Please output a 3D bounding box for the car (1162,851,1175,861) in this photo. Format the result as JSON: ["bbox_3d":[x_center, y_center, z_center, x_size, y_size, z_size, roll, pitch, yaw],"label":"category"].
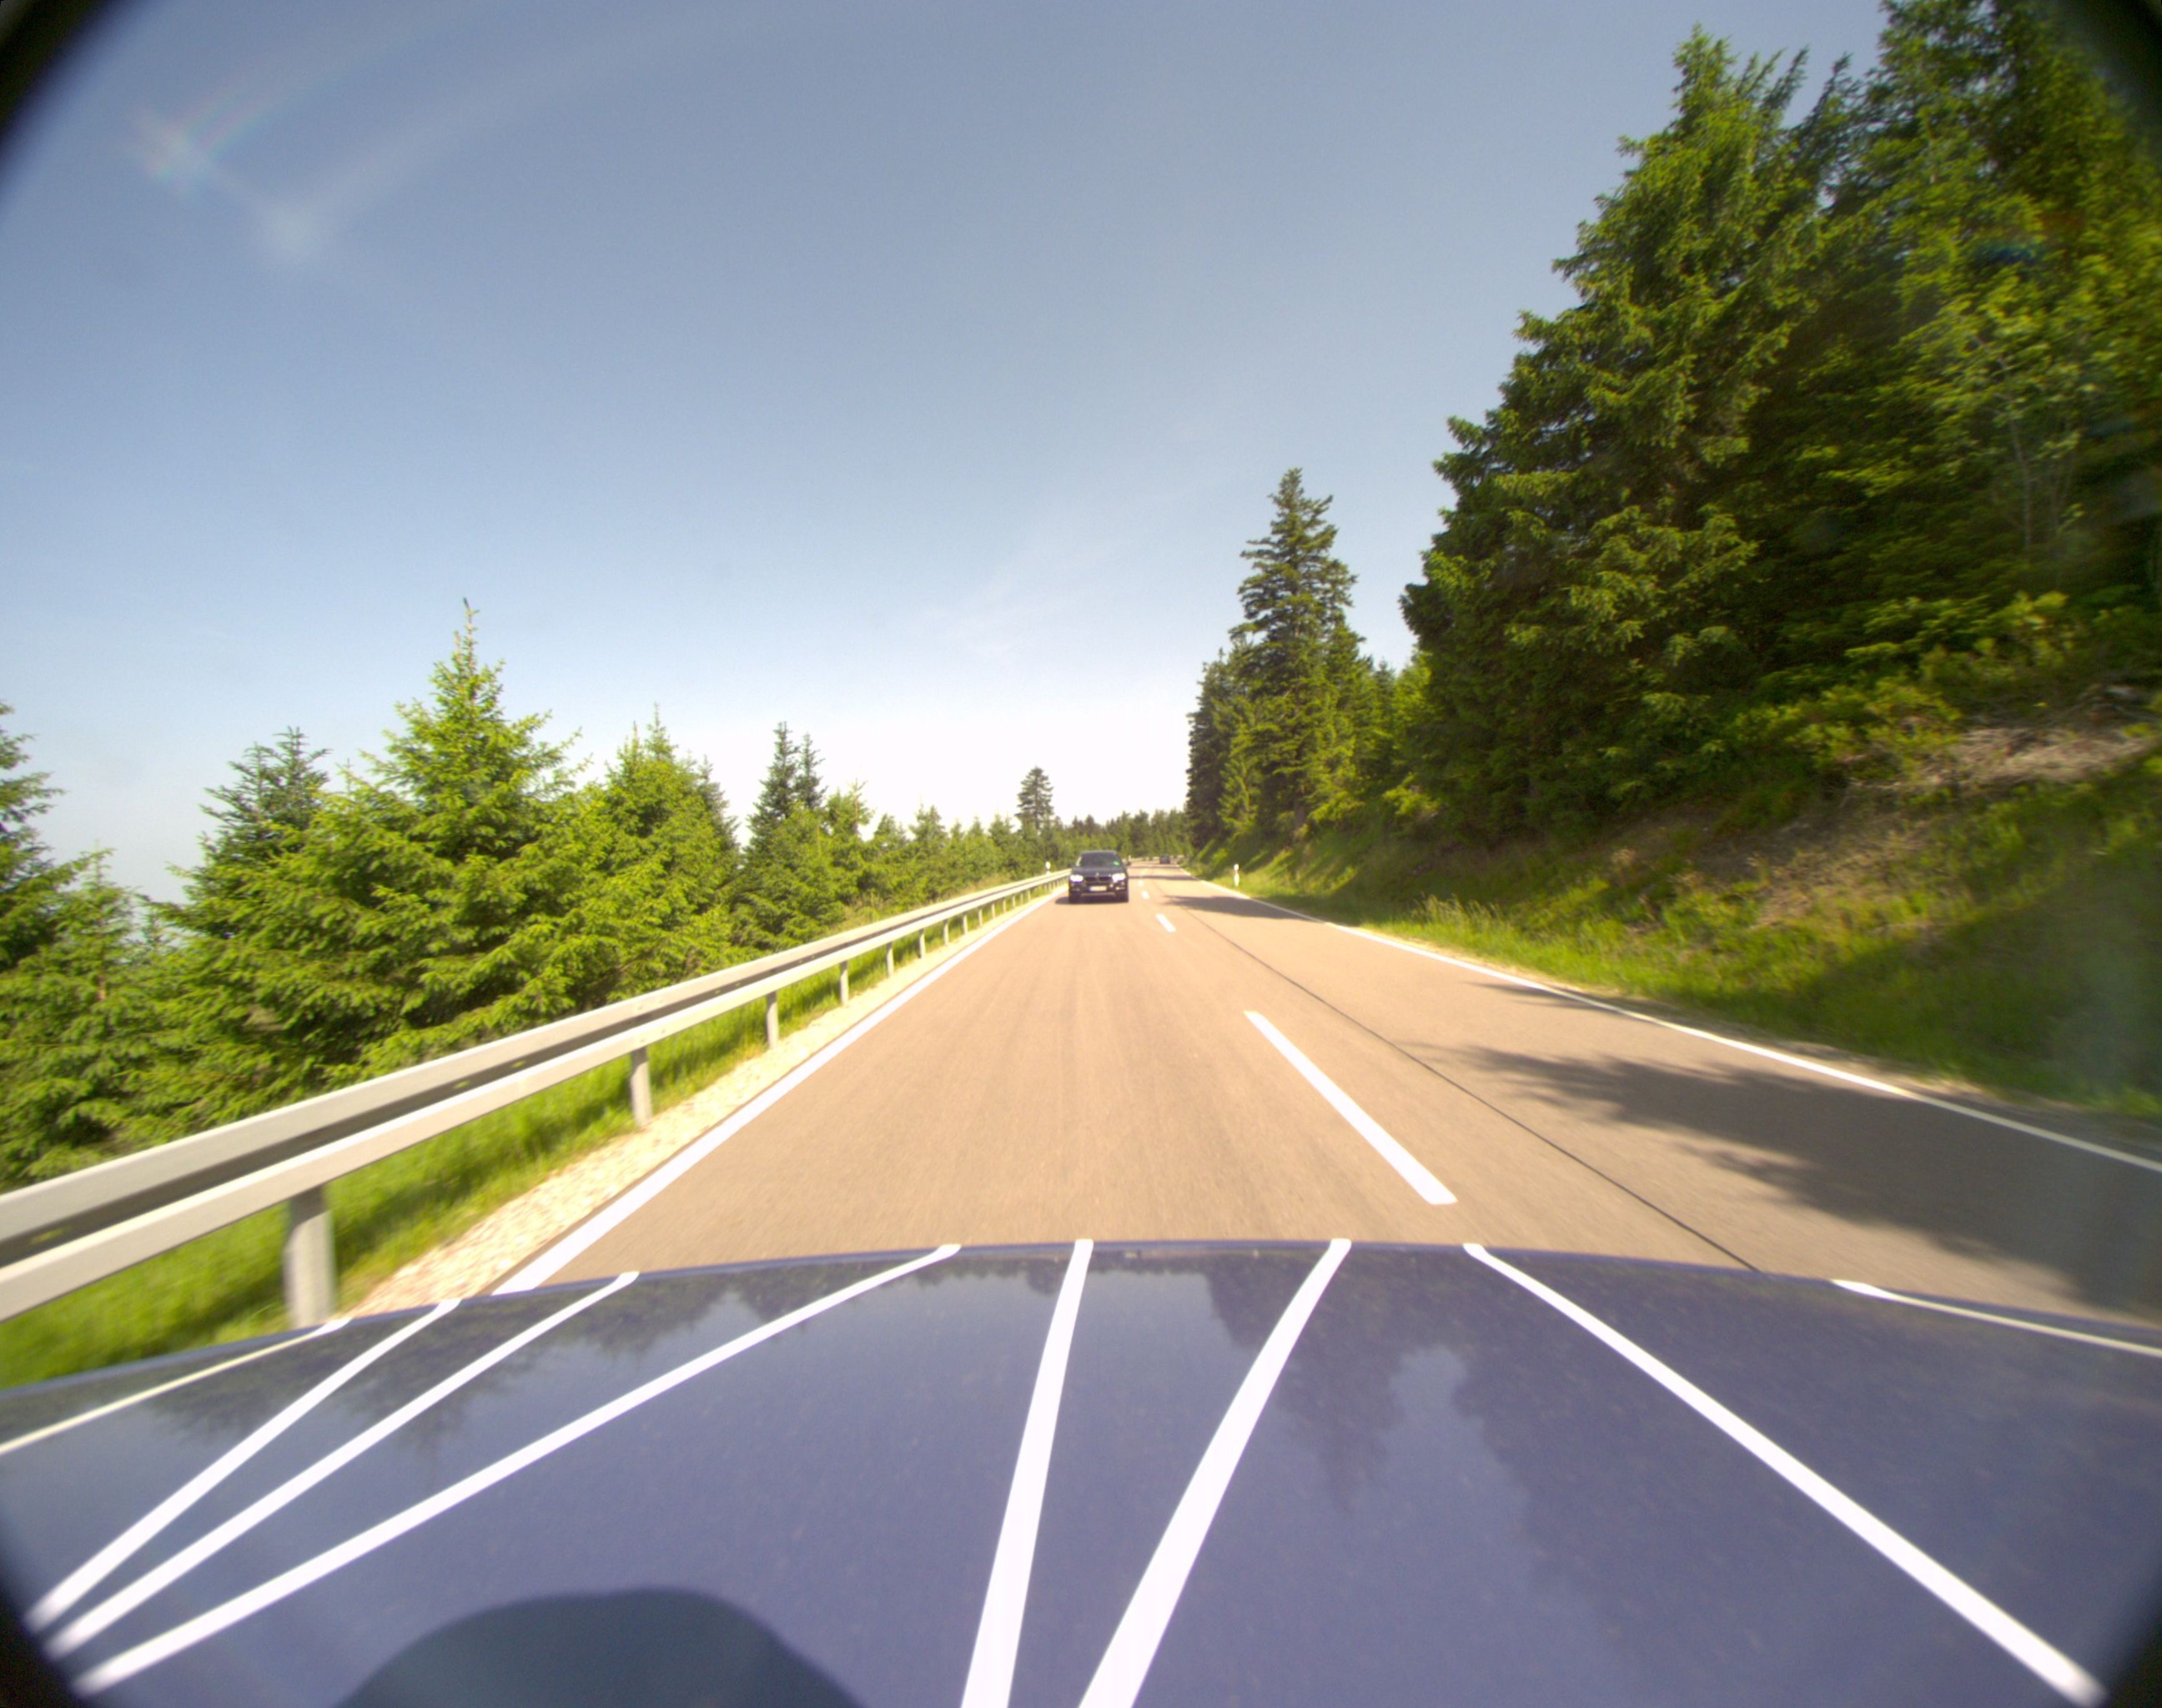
[{"bbox_3d":[13.207,0.260,114.708,1.688,1.406,3.263,0,0,4],"label":"car"}]

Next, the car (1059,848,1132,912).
[{"bbox_3d":[0.576,0.729,24.574,1.998,1.677,5.936,-3,1,3],"label":"car"}]
